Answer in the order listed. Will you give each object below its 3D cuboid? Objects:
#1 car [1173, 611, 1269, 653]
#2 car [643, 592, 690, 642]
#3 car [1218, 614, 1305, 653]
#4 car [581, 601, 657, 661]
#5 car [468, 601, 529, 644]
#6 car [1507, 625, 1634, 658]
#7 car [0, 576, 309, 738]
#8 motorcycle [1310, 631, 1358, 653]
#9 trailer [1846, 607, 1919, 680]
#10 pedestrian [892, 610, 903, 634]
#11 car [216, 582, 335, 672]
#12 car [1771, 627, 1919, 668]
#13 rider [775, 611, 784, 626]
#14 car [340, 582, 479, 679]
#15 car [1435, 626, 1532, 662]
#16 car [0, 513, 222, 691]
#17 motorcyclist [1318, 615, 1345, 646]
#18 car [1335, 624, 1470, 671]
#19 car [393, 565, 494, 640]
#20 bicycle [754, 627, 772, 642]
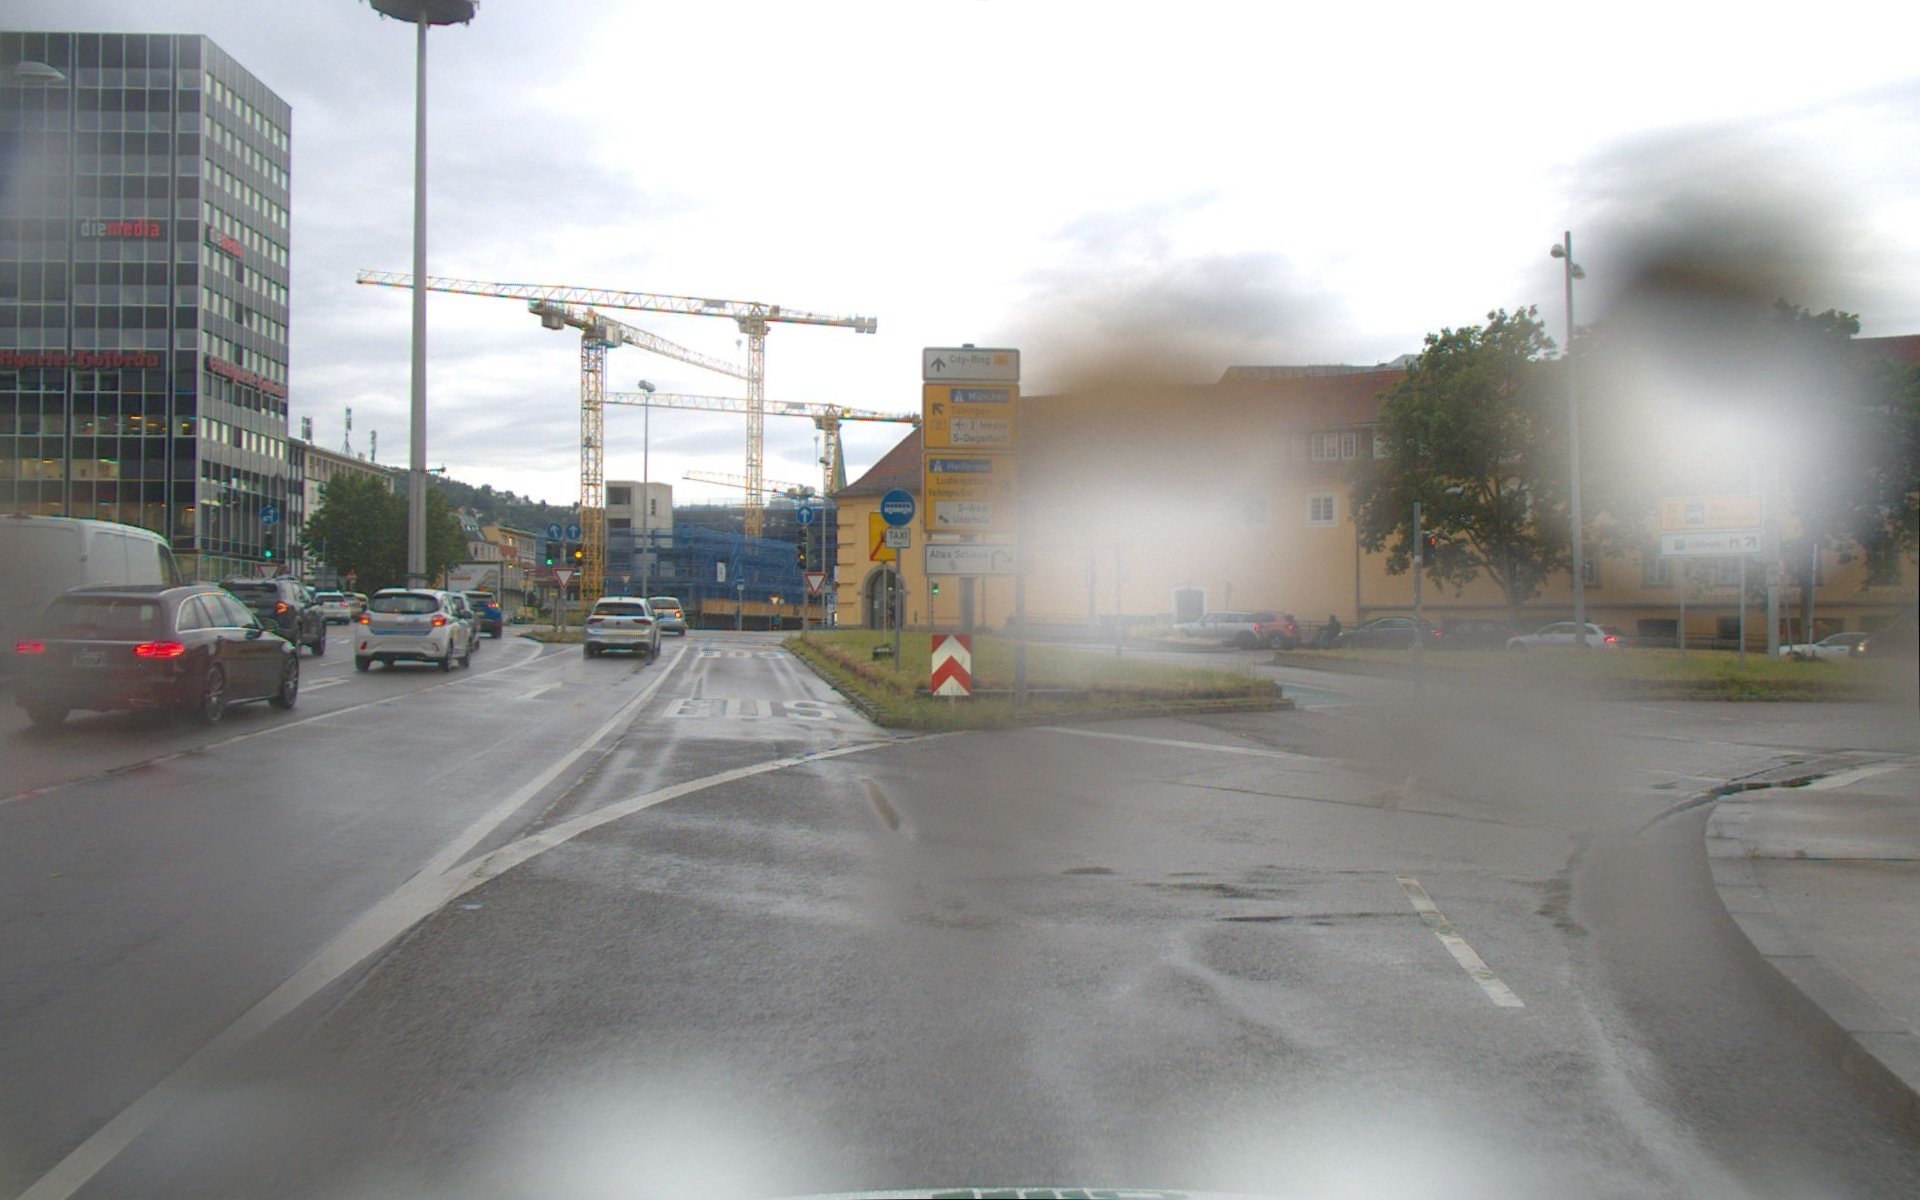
[{"bbox_3d":[9.956,1.210,63.044,3.331,1.508,1.835,1,-2,20],"label":"car"},{"bbox_3d":[-11.361,0.648,63.885,1.638,1.772,3.278,2,1,-12],"label":"car"},{"bbox_3d":[12.440,1.385,68.249,3.328,1.498,1.653,1,-2,18],"label":"car"},{"bbox_3d":[-8.385,0.778,40.800,1.415,1.383,2.410,1,-2,-3],"label":"car"},{"bbox_3d":[-15.644,0.787,56.144,1.464,1.393,3.029,1,-2,-6],"label":"car"},{"bbox_3d":[22.618,1.526,61.407,1.526,1.160,4.319,3,-2,-38],"label":"car"},{"bbox_3d":[-8.456,0.570,17.654,1.793,1.521,3.396,1,-1,-4],"label":"car"},{"bbox_3d":[15.829,1.770,69.988,1.922,0.867,0.546,1,-2,17],"label":"motorcycle"},{"bbox_3d":[31.568,1.374,52.942,5.347,2.297,2.000,-2,-4,21],"label":"trailer"},{"bbox_3d":[-3.619,1.289,96.396,0.446,1.392,0.443,0,-2,33],"label":"pedestrian"},{"bbox_3d":[-14.008,0.577,33.989,1.436,1.736,3.135,2,-2,-8],"label":"car"},{"bbox_3d":[32.767,1.737,60.948,5.184,1.385,1.555,0,-2,27],"label":"car"},{"bbox_3d":[-13.625,1.404,124.851,0.606,1.057,0.533,1,-2,-4],"label":"rider"},{"bbox_3d":[-10.335,0.597,31.289,1.845,1.682,3.451,2,-2,-8],"label":"car"},{"bbox_3d":[21.201,1.795,67.008,3.528,1.360,1.574,0,-2,30],"label":"car"},{"bbox_3d":[-13.090,0.082,24.622,2.248,2.355,5.000,1,-2,-5],"label":"car"},{"bbox_3d":[15.708,1.282,69.956,1.052,1.295,0.692,1,-2,15],"label":"motorcyclist"},{"bbox_3d":[17.367,1.862,65.035,4.723,1.739,1.991,0,-2,37],"label":"car"},{"bbox_3d":[-12.928,0.105,41.594,1.683,1.758,3.490,1,-2,-6],"label":"car"},{"bbox_3d":[-14.275,2.504,119.712,0.867,1.027,1.980,2,-2,-21],"label":"bicycle"}]
